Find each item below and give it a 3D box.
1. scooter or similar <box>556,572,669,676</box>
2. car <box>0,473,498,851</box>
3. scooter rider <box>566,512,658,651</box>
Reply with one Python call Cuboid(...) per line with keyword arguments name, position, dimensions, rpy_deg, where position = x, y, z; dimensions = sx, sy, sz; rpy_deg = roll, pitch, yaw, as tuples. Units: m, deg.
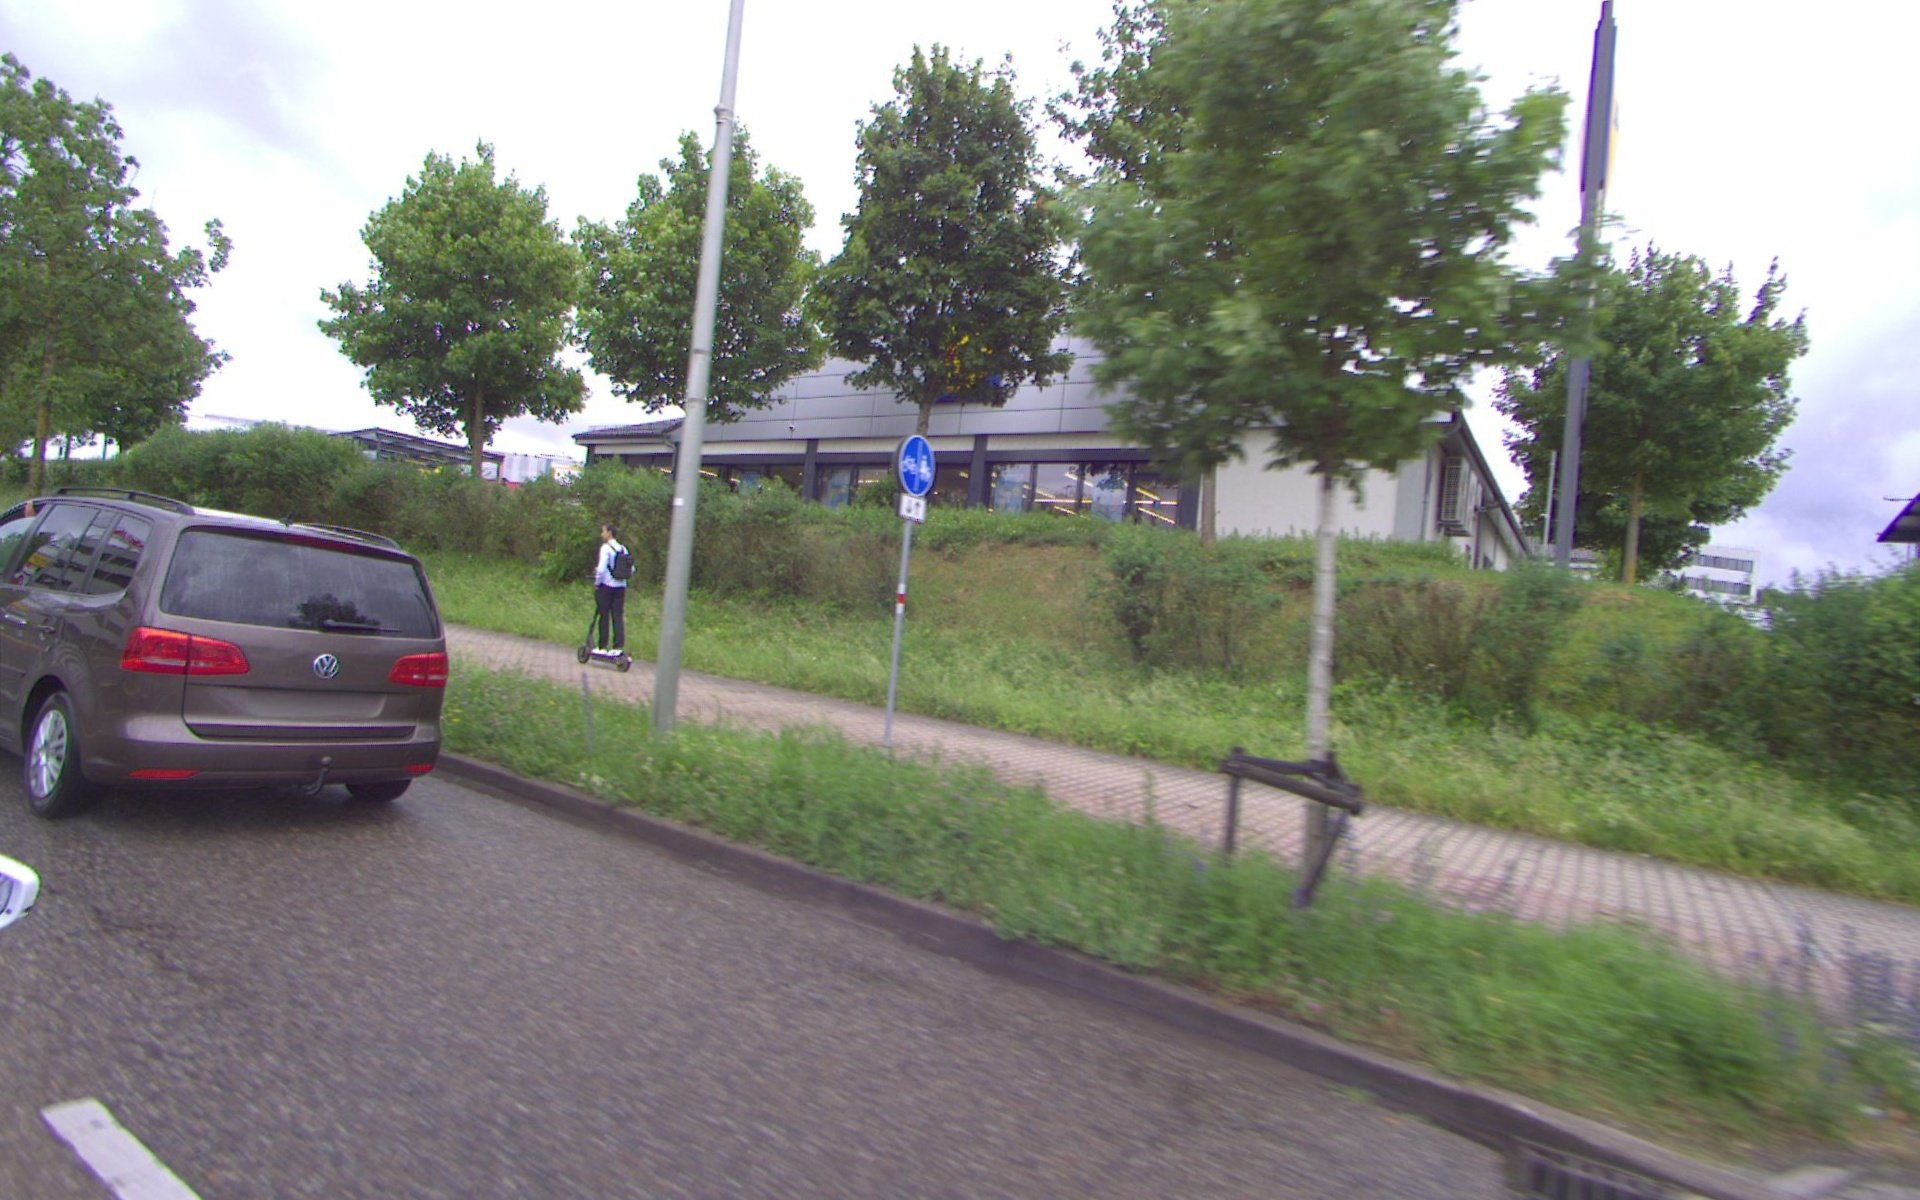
Cuboid(name="scooter or similar", position=(-4.907, 0.329, 14.190), dimensions=(1.377, 1.280, 0.695), rpy_deg=(7, 2, 31))
Cuboid(name="car", position=(-4.970, 0.196, 6.215), dimensions=(4.149, 1.598, 1.689), rpy_deg=(7, -3, 32))
Cuboid(name="scooter rider", position=(-4.914, -0.252, 14.209), dimensions=(0.844, 1.844, 0.695), rpy_deg=(7, 2, 31))
